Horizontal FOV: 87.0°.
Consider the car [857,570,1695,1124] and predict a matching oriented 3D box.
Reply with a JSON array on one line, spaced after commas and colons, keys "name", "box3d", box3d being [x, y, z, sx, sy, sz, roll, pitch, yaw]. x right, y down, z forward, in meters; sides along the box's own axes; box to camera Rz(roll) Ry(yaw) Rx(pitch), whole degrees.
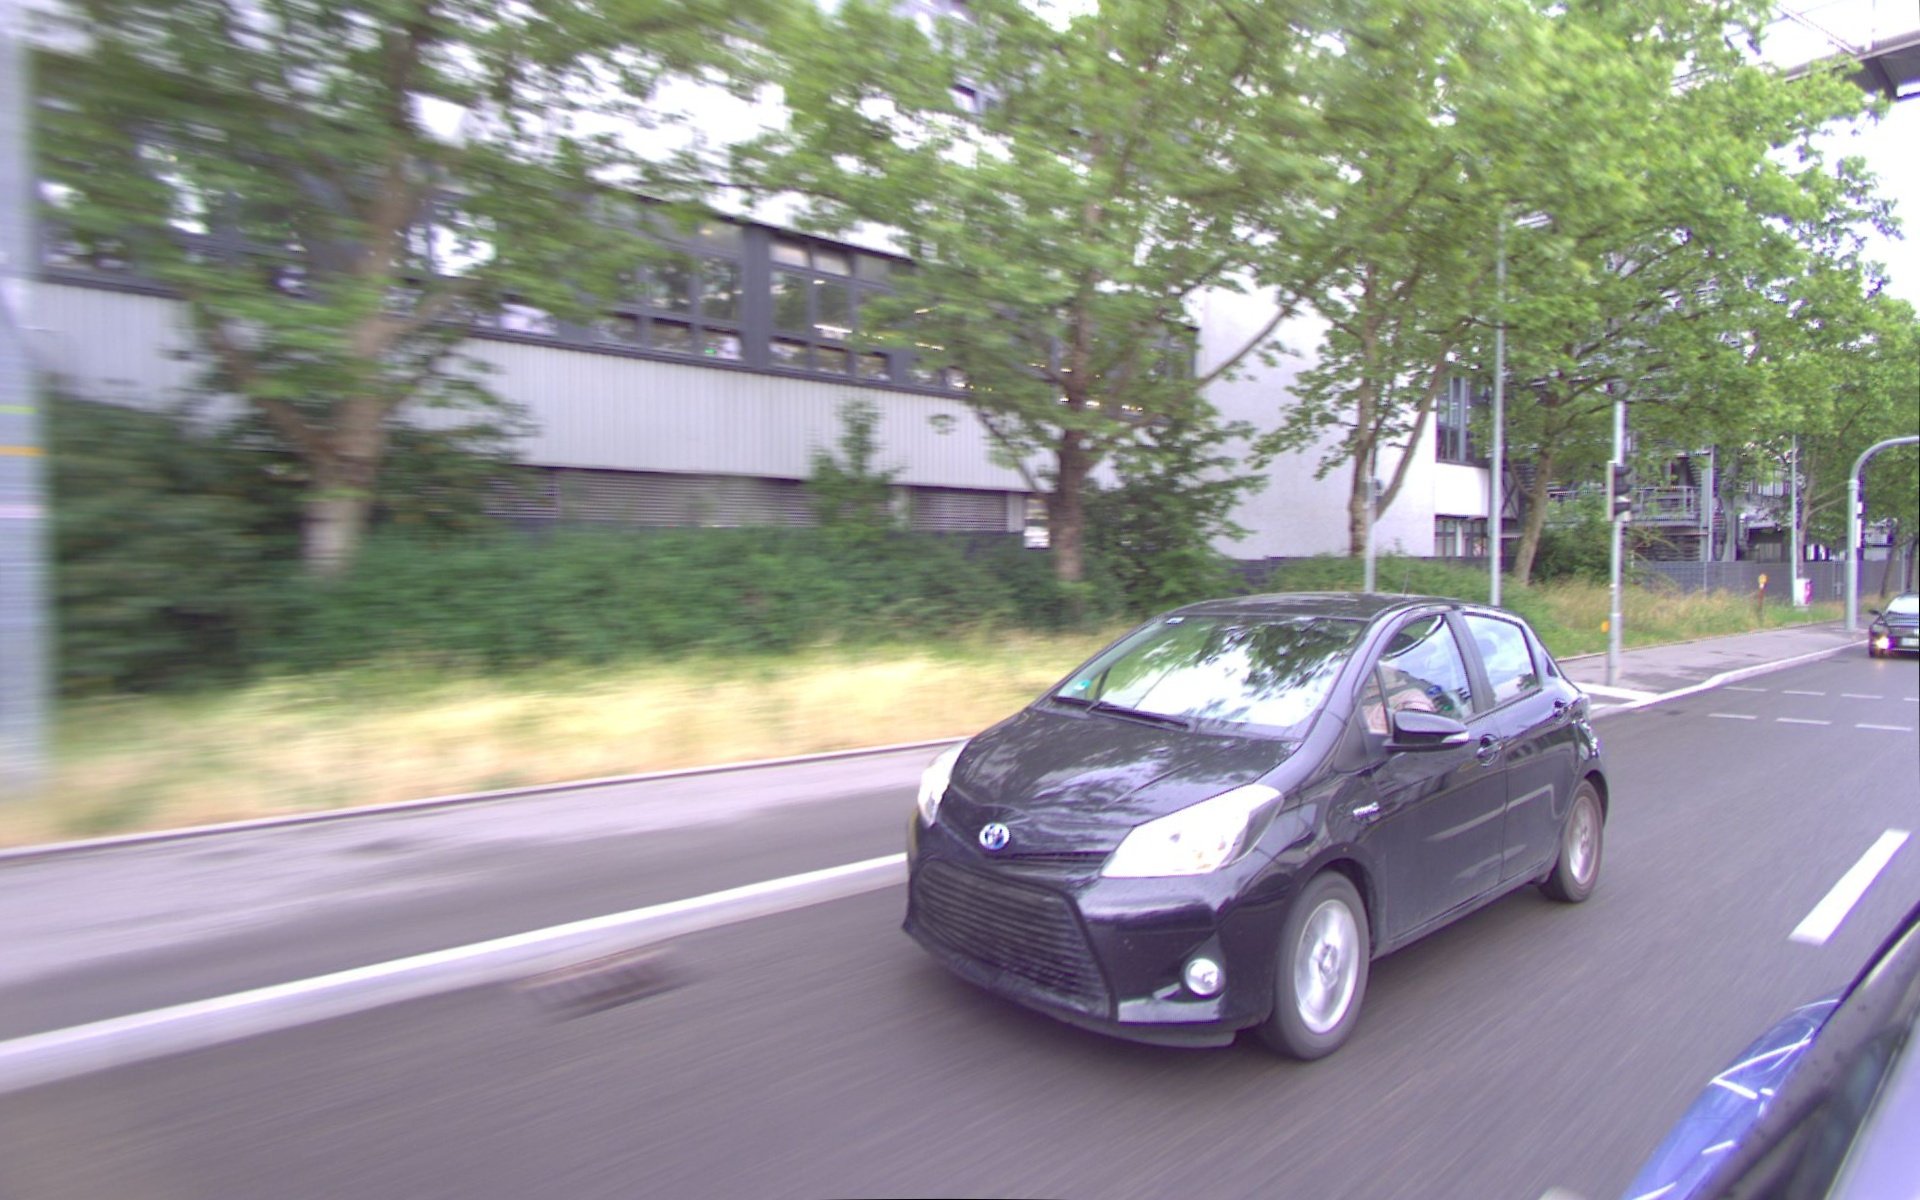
[{"name": "car", "box3d": [1.870, 0.604, 4.882, 4.560, 1.488, 1.748, -1, 2, -41]}]

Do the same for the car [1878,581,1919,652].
[{"name": "car", "box3d": [22.040, 0.330, 22.611, 4.439, 1.448, 1.748, -1, 2, -41]}]
